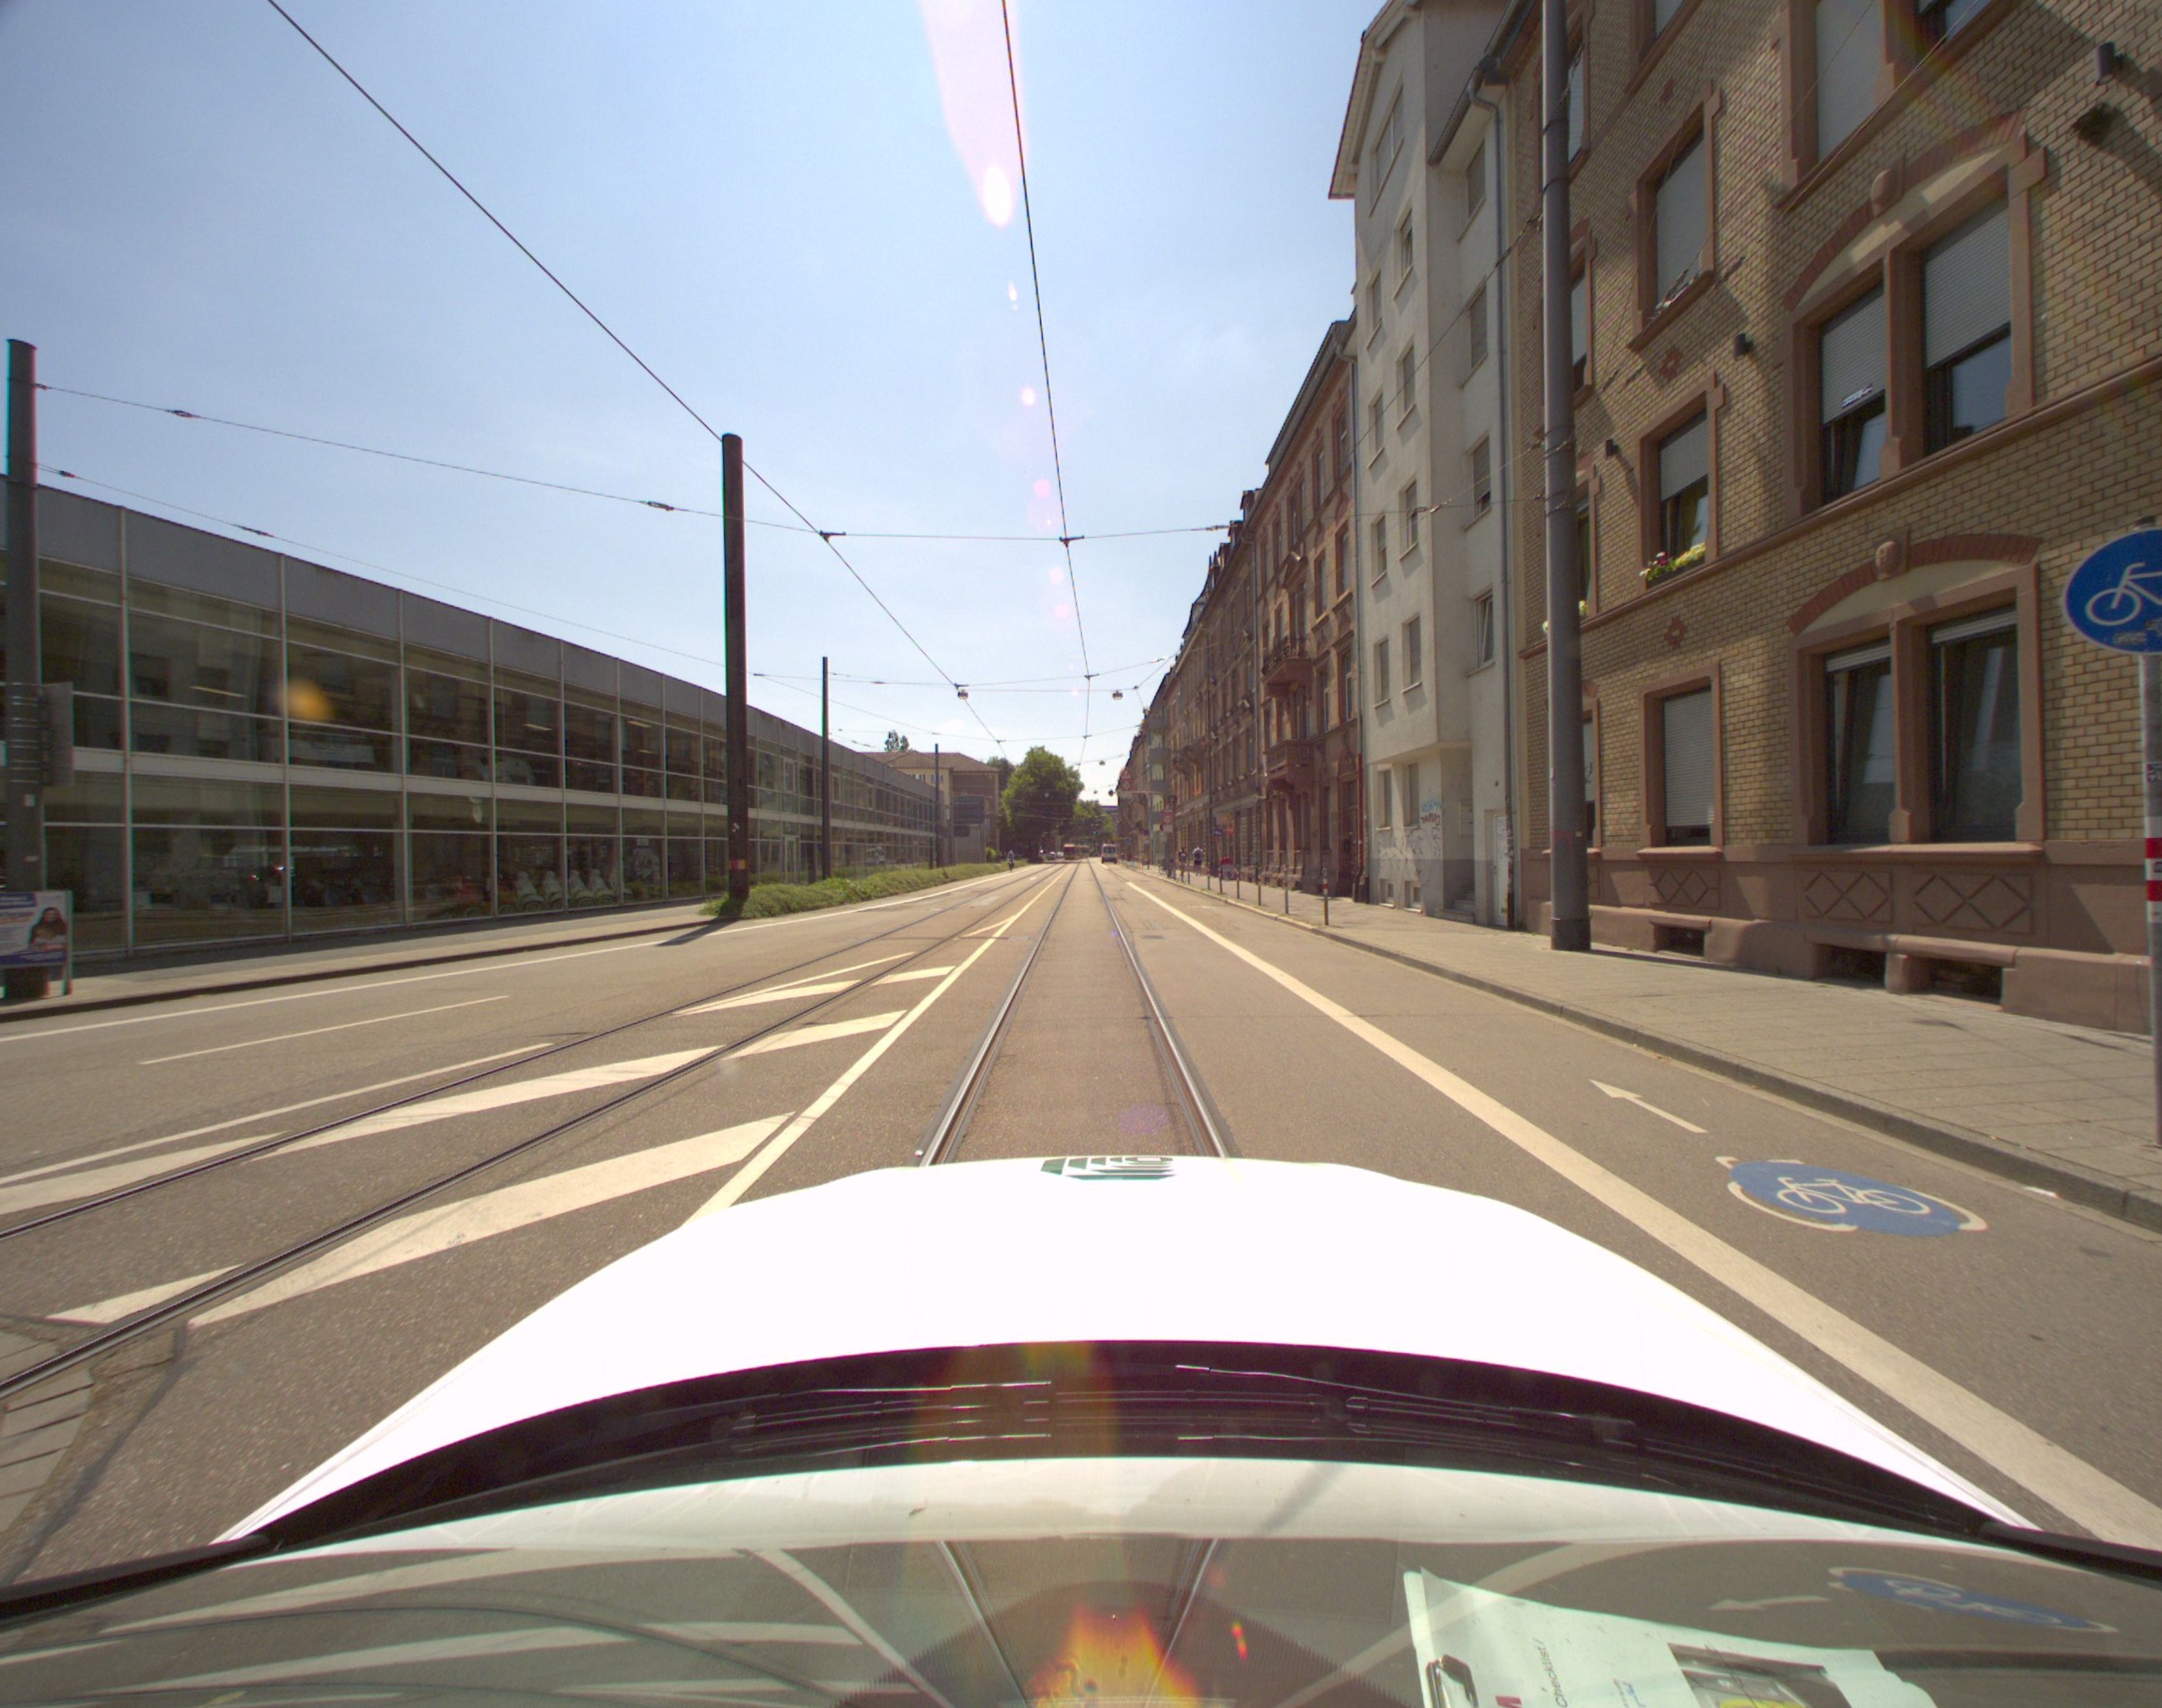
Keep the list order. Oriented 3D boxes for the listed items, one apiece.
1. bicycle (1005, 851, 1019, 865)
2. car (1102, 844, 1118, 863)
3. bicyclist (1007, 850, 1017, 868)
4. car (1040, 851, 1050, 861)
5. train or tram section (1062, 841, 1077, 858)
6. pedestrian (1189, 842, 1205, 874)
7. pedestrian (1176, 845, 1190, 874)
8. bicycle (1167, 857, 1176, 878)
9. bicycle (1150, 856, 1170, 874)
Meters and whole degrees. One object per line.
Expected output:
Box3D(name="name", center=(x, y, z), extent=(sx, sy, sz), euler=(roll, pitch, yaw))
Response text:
Box3D(name="bicycle", center=(-6.040, 0.362, 71.537), extent=(0.694, 1.144, 2.499), euler=(-1, 0, 6))
Box3D(name="car", center=(3.872, -0.055, 108.438), extent=(2.060, 2.501, 5.456), euler=(0, 0, 1))
Box3D(name="bicyclist", center=(-6.051, 0.462, 71.490), extent=(0.694, 1.548, 0.982), euler=(-1, 0, 6))
Box3D(name="car", center=(-6.986, 0.365, 158.492), extent=(1.796, 1.923, 3.997), euler=(0, 0, -2))
Box3D(name="train or tram section", center=(-2.397, -0.966, 176.421), extent=(2.951, 3.580, 13.421), euler=(-1, 0, 0))
Box3D(name="pedestrian", center=(6.913, 0.228, 48.647), extent=(0.700, 1.848, 0.644), euler=(-5, 0, 1))
Box3D(name="pedestrian", center=(6.125, 0.321, 48.879), extent=(0.717, 1.720, 0.644), euler=(-1, 0, 1))
Box3D(name="bicycle", center=(5.170, 0.751, 46.399), extent=(0.445, 1.097, 2.427), euler=(-2, 0, 6))
Box3D(name="bicycle", center=(5.265, 0.734, 54.253), extent=(0.494, 1.130, 2.257), euler=(-2, 0, 29))
